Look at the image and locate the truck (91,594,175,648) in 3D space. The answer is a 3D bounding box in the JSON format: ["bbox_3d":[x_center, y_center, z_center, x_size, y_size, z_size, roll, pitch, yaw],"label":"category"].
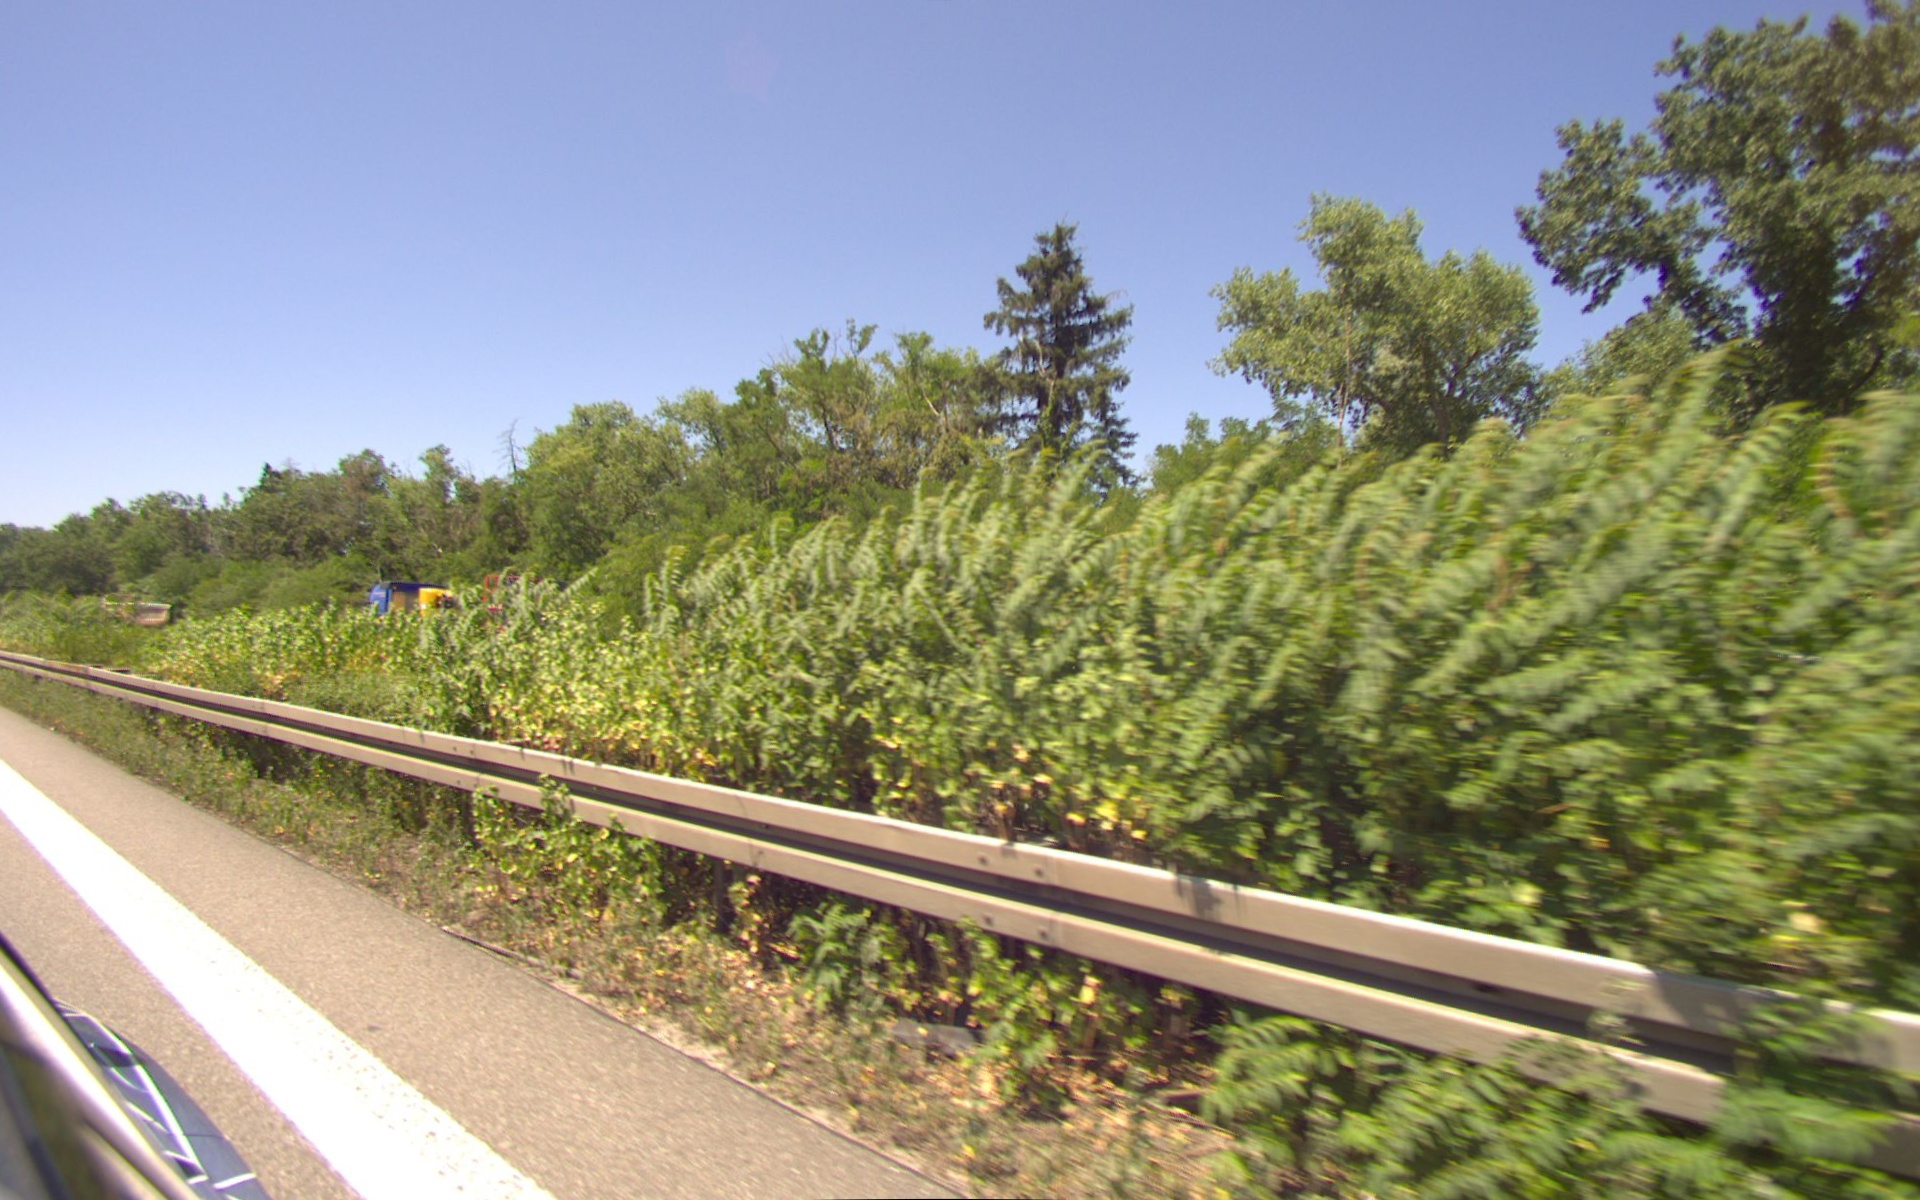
[{"bbox_3d":[-63.022,1.640,77.015,11.892,3.734,2.869,-1,-4,41],"label":"truck"}]

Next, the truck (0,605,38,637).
[{"bbox_3d":[-113.240,2.540,121.337,11.838,3.662,2.512,-1,-4,41],"label":"truck"}]

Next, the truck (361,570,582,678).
[{"bbox_3d":[-18.298,0.896,37.241,11.975,3.459,2.758,-1,-3,41],"label":"truck"}]
